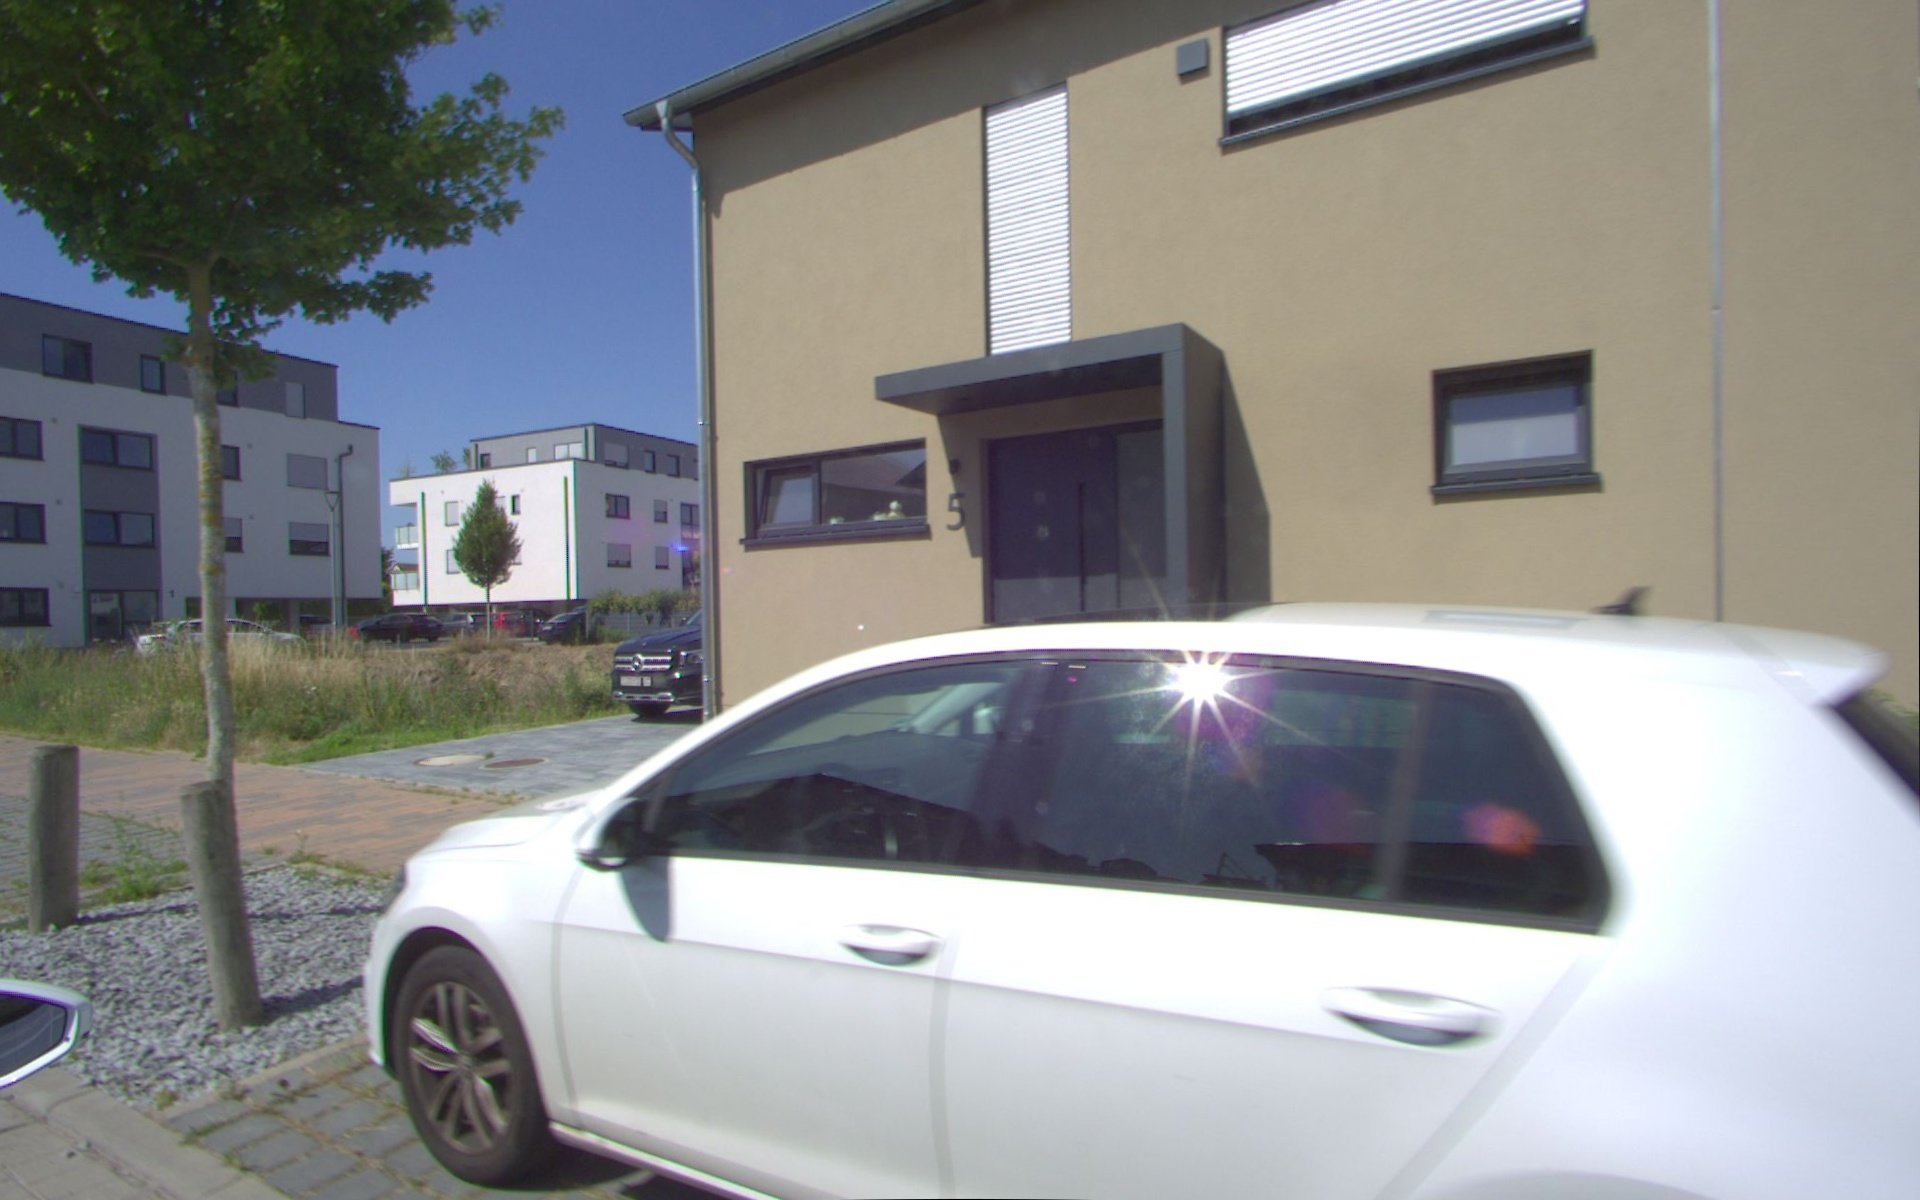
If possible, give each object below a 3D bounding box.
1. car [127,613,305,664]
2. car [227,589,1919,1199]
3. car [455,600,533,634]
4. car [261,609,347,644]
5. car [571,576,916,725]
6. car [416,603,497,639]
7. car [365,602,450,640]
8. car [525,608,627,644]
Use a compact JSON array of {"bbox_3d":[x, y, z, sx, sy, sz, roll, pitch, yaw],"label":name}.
[{"bbox_3d":[-23.541,1.184,31.857,1.853,1.454,4.157,-2,-1,26],"label":"car"},{"bbox_3d":[0.128,0.722,2.696,4.447,1.445,1.776,0,1,31],"label":"car"},{"bbox_3d":[-26.614,0.976,57.160,4.107,1.833,1.875,-2,0,27],"label":"car"},{"bbox_3d":[-31.339,1.272,47.837,3.621,1.522,1.875,-2,-1,27],"label":"car"},{"bbox_3d":[-2.687,0.569,13.727,1.970,1.666,4.739,-2,0,29],"label":"car"},{"bbox_3d":[-27.431,1.158,54.525,4.107,1.833,1.875,-2,0,27],"label":"car"},{"bbox_3d":[-28.604,1.071,51.853,4.107,1.833,1.875,-2,0,27],"label":"car"},{"bbox_3d":[-17.263,1.161,45.267,1.853,1.498,4.157,-2,-1,26],"label":"car"}]
